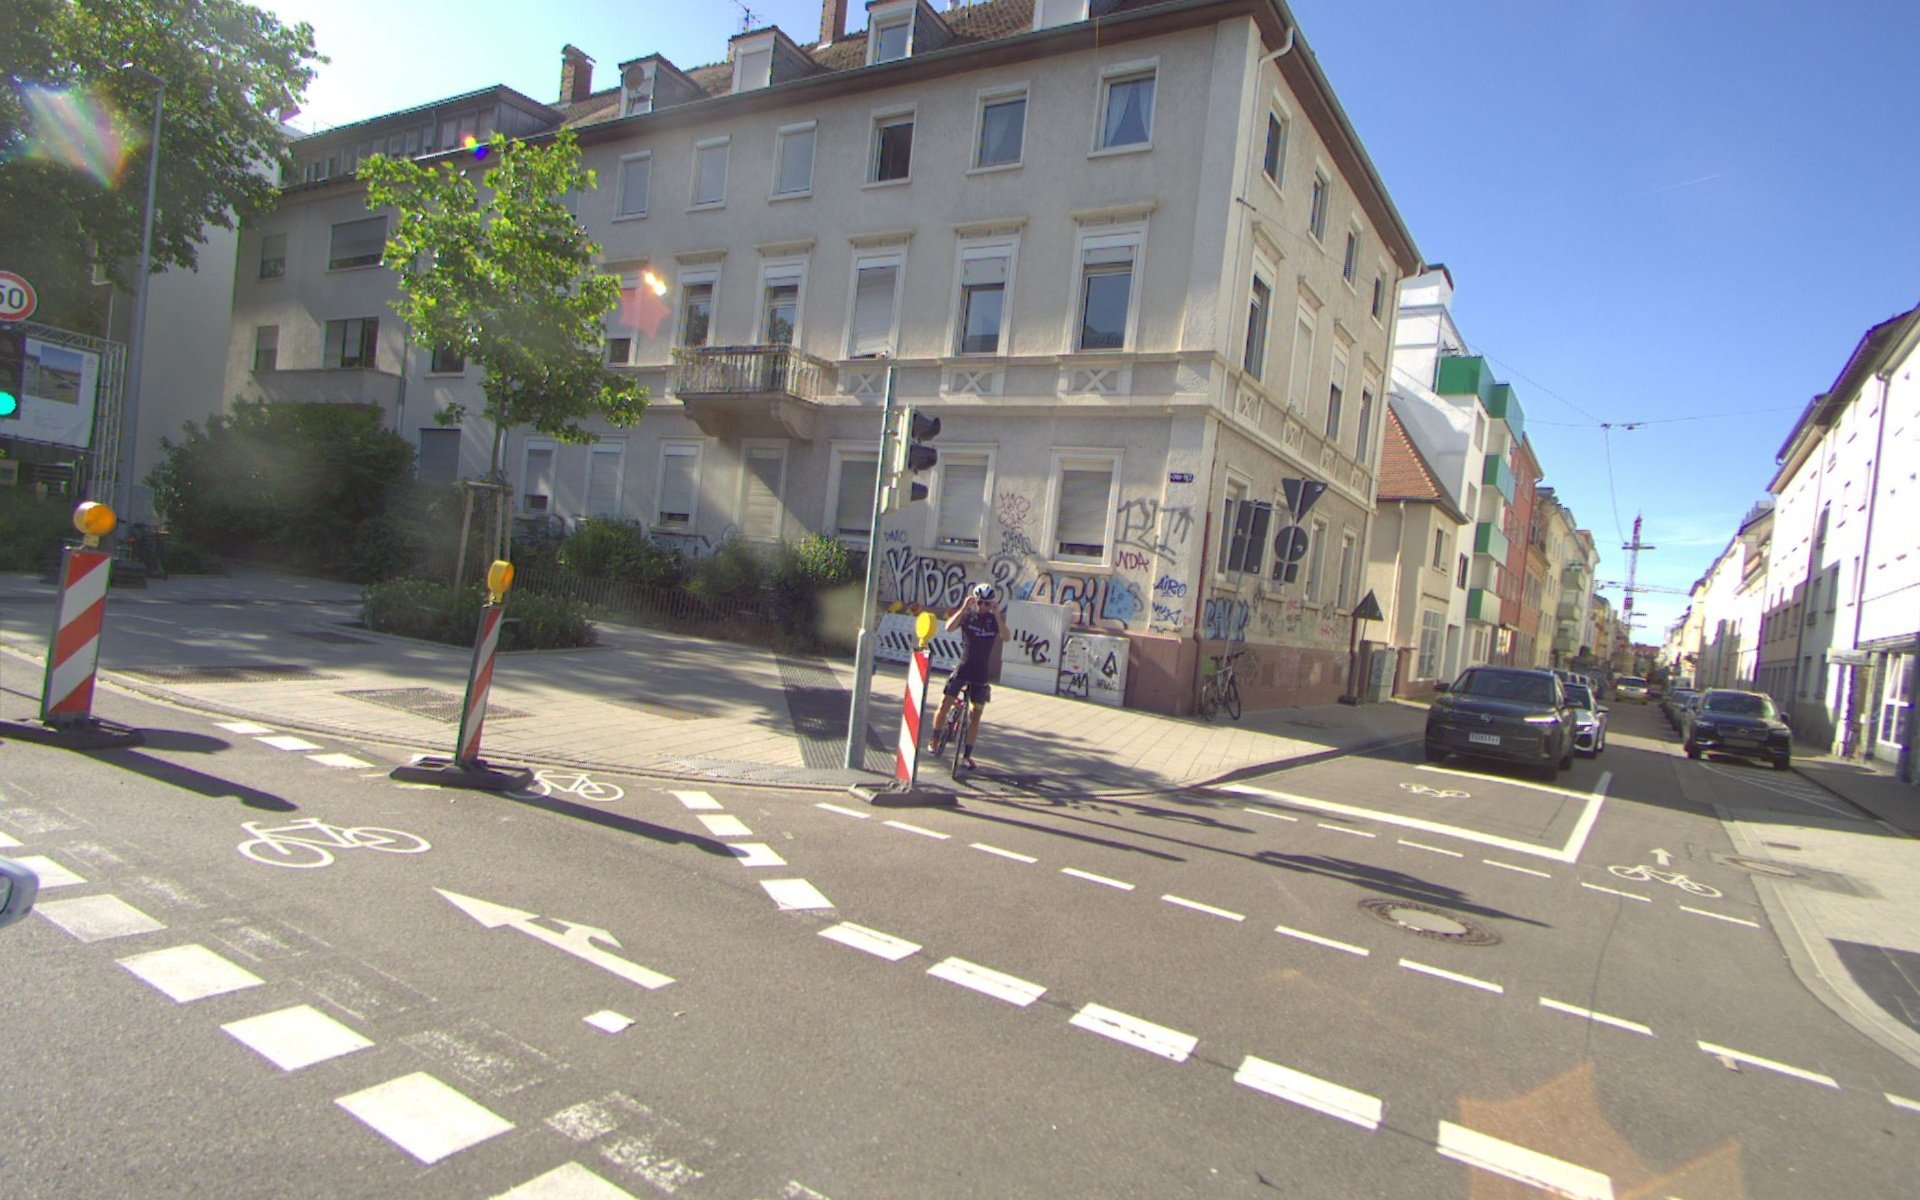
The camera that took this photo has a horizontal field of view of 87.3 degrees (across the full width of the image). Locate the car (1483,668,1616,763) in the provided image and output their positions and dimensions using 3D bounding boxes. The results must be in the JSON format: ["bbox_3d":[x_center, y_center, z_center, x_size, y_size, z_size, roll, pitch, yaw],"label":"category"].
[{"bbox_3d":[12.758,2.435,21.656,1.969,1.584,4.112,7,0,36],"label":"car"}]

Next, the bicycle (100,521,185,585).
[{"bbox_3d":[-14.697,-0.840,18.149,0.581,1.017,2.119,6,0,-24],"label":"bicycle"}]

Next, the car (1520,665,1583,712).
[{"bbox_3d":[26.589,3.970,45.171,1.969,1.734,3.988,7,0,35],"label":"car"}]

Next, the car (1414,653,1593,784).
[{"bbox_3d":[9.003,1.875,16.463,1.954,1.638,4.252,6,-1,35],"label":"car"}]

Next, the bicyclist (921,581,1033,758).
[{"bbox_3d":[0.142,0.621,9.415,0.714,1.518,0.869,6,1,-12],"label":"bicyclist"}]

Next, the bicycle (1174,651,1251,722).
[{"bbox_3d":[4.341,1.474,17.190,0.569,1.093,1.998,7,0,32],"label":"bicycle"}]

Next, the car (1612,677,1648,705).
[{"bbox_3d":[48.833,6.613,73.283,1.969,1.734,3.988,7,0,35],"label":"car"}]

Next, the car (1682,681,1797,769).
[{"bbox_3d":[19.312,3.057,25.064,1.969,1.734,3.987,7,0,36],"label":"car"}]

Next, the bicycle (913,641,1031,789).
[{"bbox_3d":[0.067,1.020,9.442,0.679,1.112,1.683,6,0,-11],"label":"bicycle"}]
